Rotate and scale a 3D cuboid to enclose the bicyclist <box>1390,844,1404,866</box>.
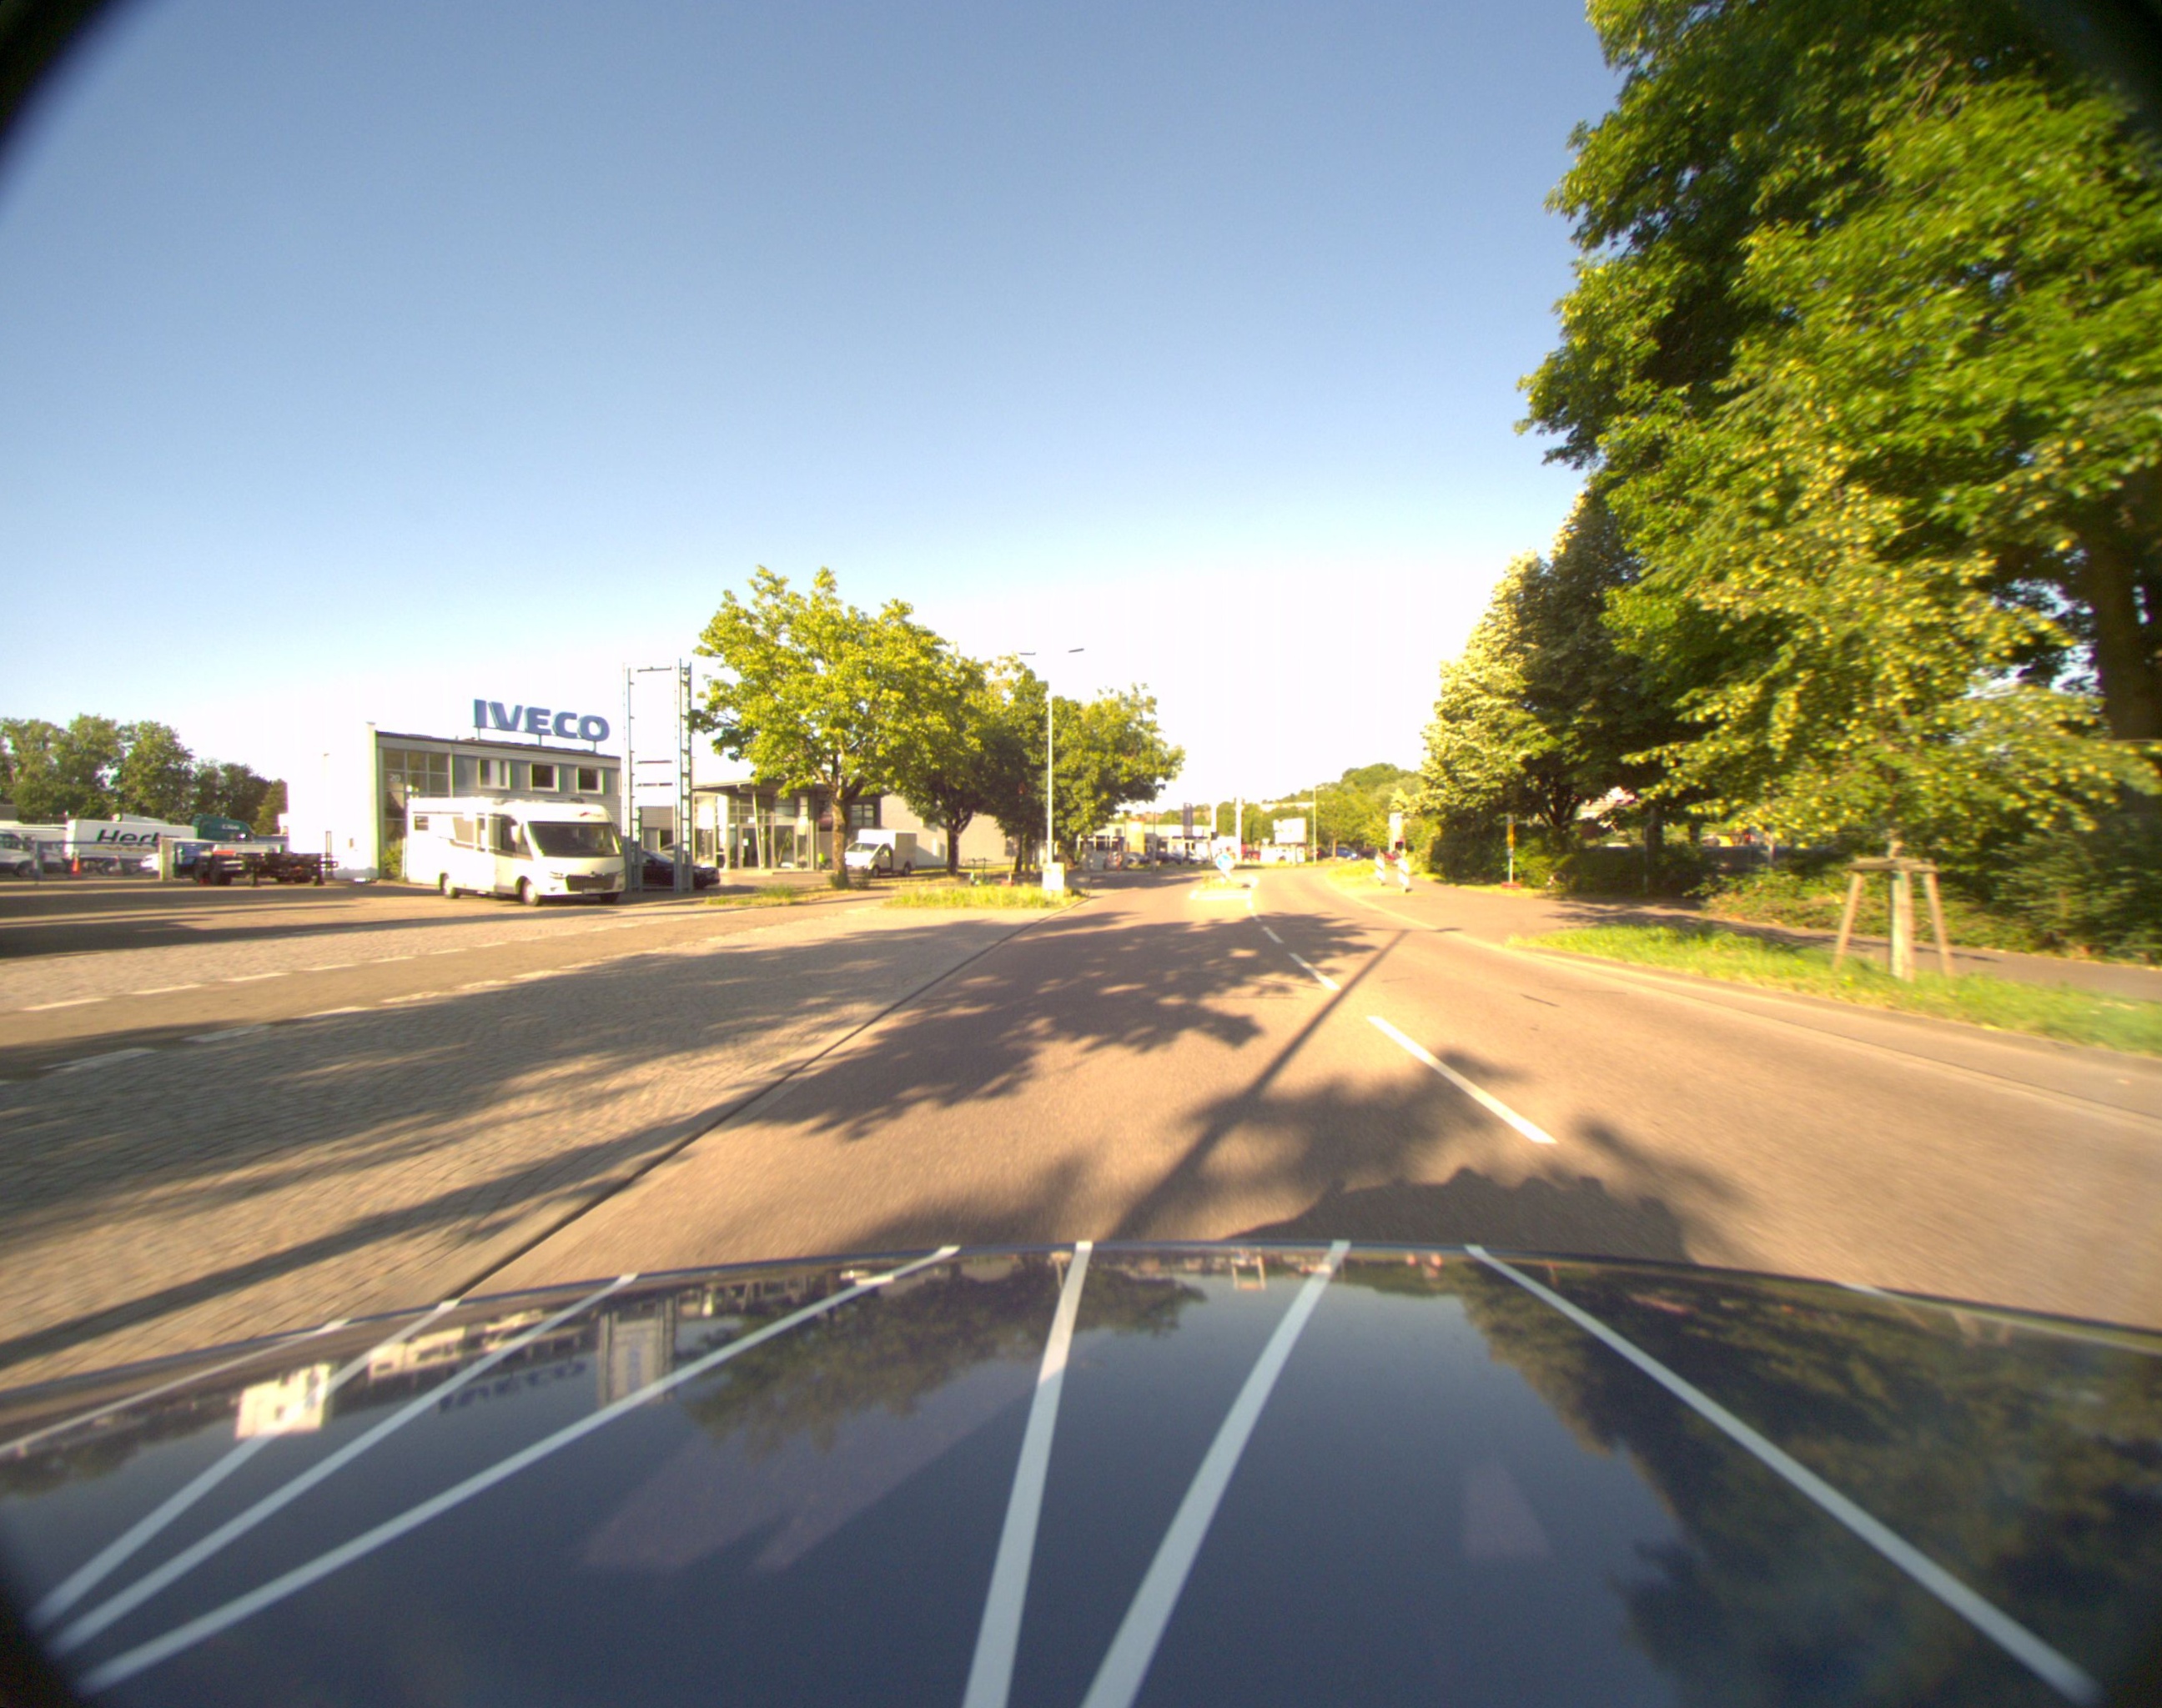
[{"bbox_3d":[25.841,0.073,62.158,0.953,1.742,0.913,0,1,13],"label":"bicyclist"}]

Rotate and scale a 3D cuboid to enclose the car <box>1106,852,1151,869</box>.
[{"bbox_3d":[5.547,0.752,89.618,4.832,2.002,2.305,0,0,39],"label":"car"}]

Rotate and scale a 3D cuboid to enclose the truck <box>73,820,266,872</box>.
[{"bbox_3d":[-54.016,-0.452,45.314,1.994,2.889,7.128,1,1,31],"label":"truck"}]

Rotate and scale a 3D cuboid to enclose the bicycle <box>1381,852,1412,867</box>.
[{"bbox_3d":[25.810,0.475,62.113,2.160,1.094,0.926,-3,0,9],"label":"bicycle"}]

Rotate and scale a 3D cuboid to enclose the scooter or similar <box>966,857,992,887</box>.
[{"bbox_3d":[-4.170,0.708,31.049,0.547,1.189,1.483,0,0,13],"label":"scooter or similar"}]

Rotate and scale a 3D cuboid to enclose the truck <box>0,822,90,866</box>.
[{"bbox_3d":[-69.253,-0.666,49.547,1.994,2.817,5.371,1,1,31],"label":"truck"}]

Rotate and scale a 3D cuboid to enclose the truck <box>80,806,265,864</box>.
[{"bbox_3d":[-56.275,-1.107,47.304,1.994,3.331,7.128,1,1,31],"label":"truck"}]

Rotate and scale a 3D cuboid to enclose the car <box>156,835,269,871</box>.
[{"bbox_3d":[-51.123,-0.063,44.790,2.386,2.002,4.008,1,1,31],"label":"car"}]

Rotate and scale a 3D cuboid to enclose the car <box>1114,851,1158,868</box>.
[{"bbox_3d":[6.701,0.695,92.912,4.832,2.002,2.305,0,0,39],"label":"car"}]

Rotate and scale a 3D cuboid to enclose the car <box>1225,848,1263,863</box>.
[{"bbox_3d":[22.169,0.176,103.442,2.304,2.002,4.834,0,0,-36],"label":"car"}]

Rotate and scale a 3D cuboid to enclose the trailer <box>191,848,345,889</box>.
[{"bbox_3d":[-29.750,0.474,27.767,5.637,1.314,2.560,1,1,29],"label":"trailer"}]

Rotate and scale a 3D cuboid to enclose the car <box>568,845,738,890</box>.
[{"bbox_3d":[-14.931,0.460,26.800,4.814,1.483,1.998,0,1,-10],"label":"car"}]

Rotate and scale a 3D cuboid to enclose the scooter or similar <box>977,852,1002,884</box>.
[{"bbox_3d":[-3.900,0.596,32.510,0.547,1.328,1.483,1,1,13],"label":"scooter or similar"}]

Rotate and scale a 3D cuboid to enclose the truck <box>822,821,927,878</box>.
[{"bbox_3d":[-10.657,-0.250,39.842,2.541,2.704,5.979,2,1,16],"label":"truck"}]

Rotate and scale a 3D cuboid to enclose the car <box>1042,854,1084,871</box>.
[{"bbox_3d":[-2.198,1.065,92.560,4.832,2.002,2.305,0,0,43],"label":"car"}]

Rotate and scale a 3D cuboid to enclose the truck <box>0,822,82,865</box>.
[{"bbox_3d":[-71.935,-0.694,51.201,1.994,2.817,5.371,1,1,31],"label":"truck"}]

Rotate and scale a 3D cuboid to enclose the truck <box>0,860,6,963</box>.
[{"bbox_3d":[-17.909,-0.368,10.522,8.230,3.502,3.121,1,2,34],"label":"truck"}]

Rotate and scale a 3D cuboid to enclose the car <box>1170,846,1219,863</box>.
[{"bbox_3d":[13.586,0.089,90.888,5.274,2.002,2.410,0,0,39],"label":"car"}]

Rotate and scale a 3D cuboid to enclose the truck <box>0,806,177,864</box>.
[{"bbox_3d":[-65.718,-1.174,50.354,2.669,3.555,7.128,1,1,31],"label":"truck"}]

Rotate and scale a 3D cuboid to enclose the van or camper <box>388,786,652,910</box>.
[{"bbox_3d":[-15.642,-0.181,21.019,7.988,2.883,2.948,1,1,30],"label":"van or camper"}]

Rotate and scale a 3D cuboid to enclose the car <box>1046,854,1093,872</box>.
[{"bbox_3d":[-1.320,1.010,85.782,4.832,2.002,2.305,0,0,37],"label":"car"}]

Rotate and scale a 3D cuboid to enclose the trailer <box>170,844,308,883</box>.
[{"bbox_3d":[-33.219,0.344,30.036,2.251,1.440,3.263,1,1,31],"label":"trailer"}]

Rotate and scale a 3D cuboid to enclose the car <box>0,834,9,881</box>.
[{"bbox_3d":[-48.657,0.214,31.251,1.995,2.002,5.061,-2,0,29],"label":"car"}]
